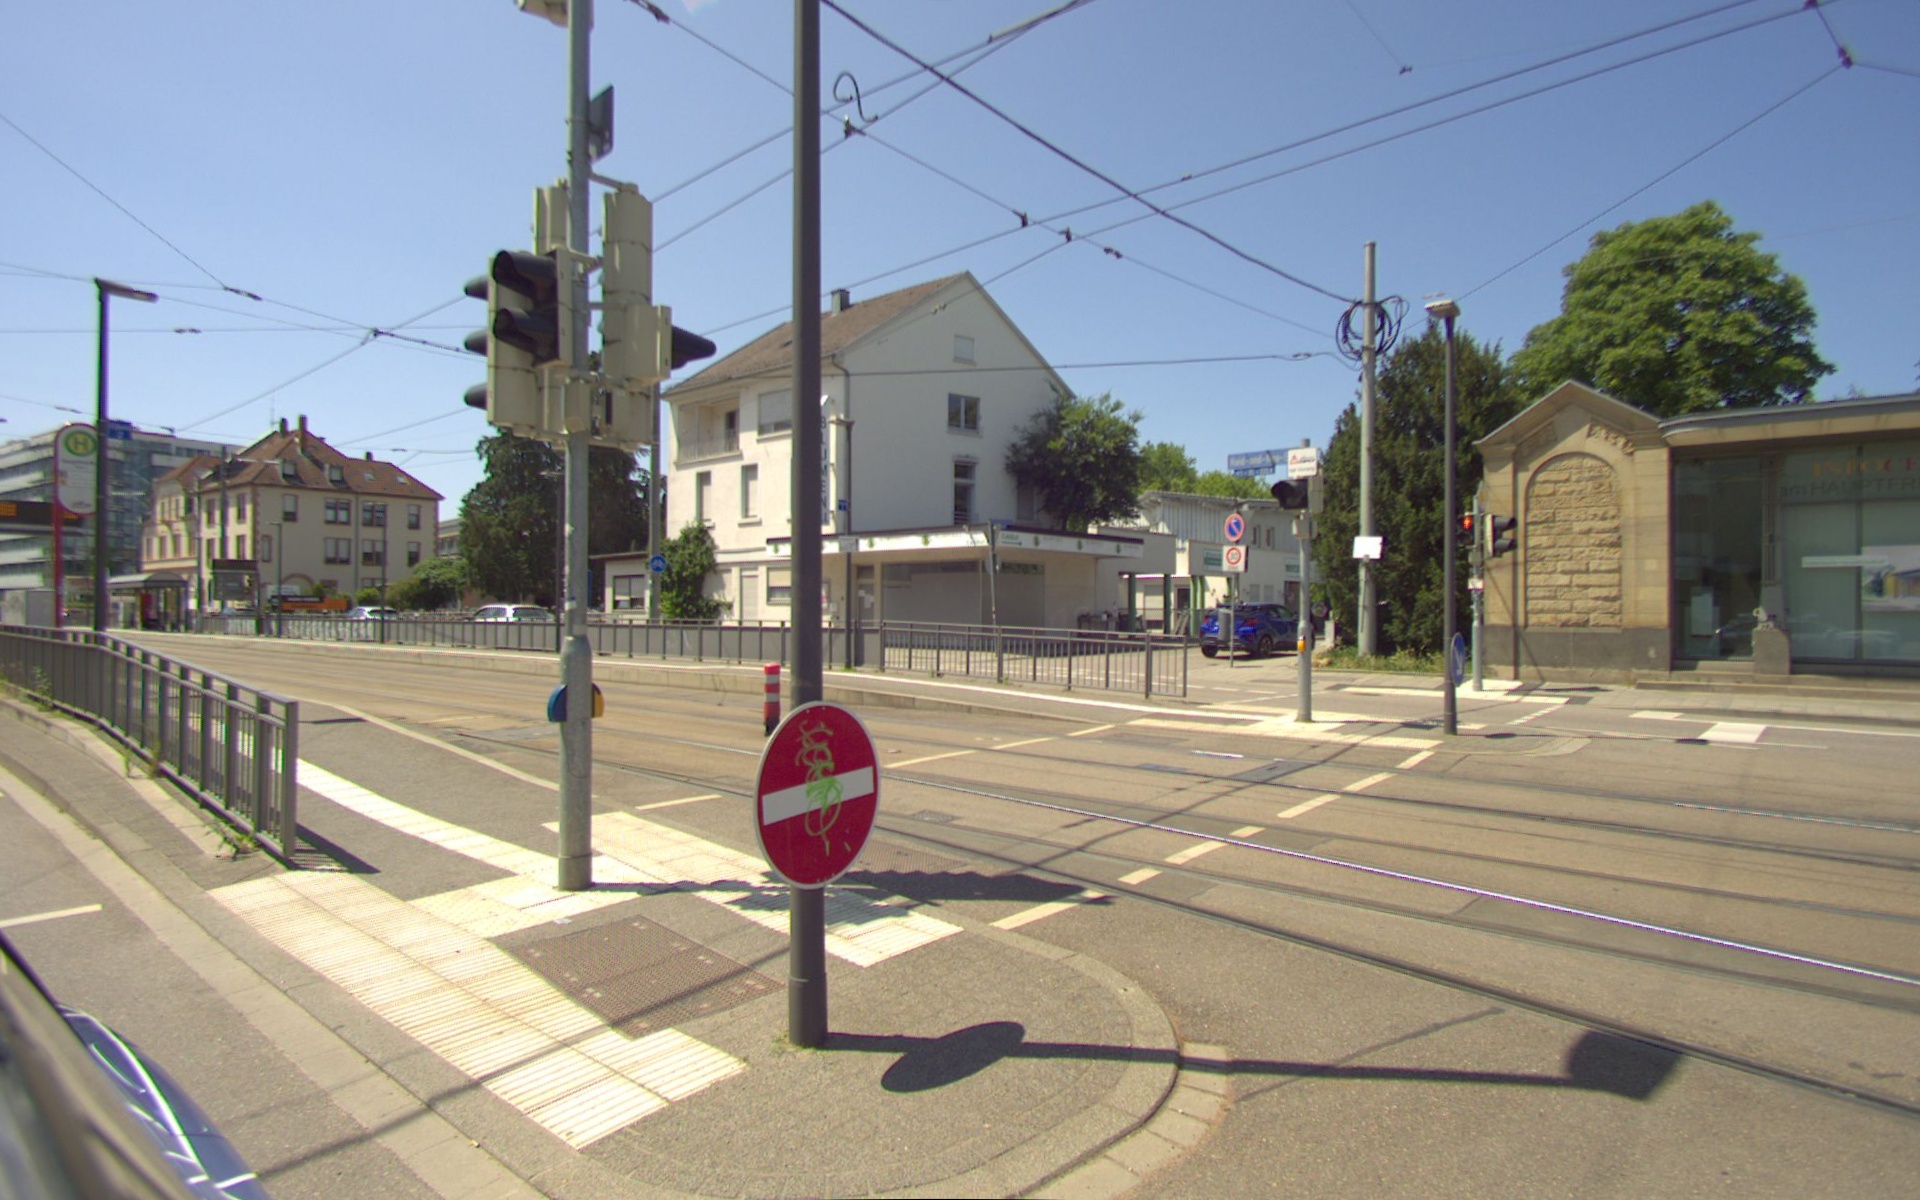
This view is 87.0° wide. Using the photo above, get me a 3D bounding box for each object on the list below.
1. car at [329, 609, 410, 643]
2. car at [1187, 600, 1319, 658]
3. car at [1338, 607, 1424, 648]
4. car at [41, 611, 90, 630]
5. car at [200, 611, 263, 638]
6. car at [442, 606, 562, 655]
[{"bbox_3d":[-24.821,1.065,42.475,4.050,1.373,1.799,-1,-1,42],"label":"car"},{"bbox_3d":[8.073,0.755,27.747,1.825,1.463,3.900,-1,-1,45],"label":"car"},{"bbox_3d":[14.943,0.974,35.835,1.644,1.380,3.759,-1,-2,42],"label":"car"},{"bbox_3d":[-68.051,1.562,76.992,4.163,1.406,1.803,-1,-1,33],"label":"car"},{"bbox_3d":[-40.132,1.330,55.727,4.476,1.453,1.837,-1,-1,41],"label":"car"},{"bbox_3d":[-15.118,0.945,33.317,4.494,1.501,1.800,0,0,39],"label":"car"}]
